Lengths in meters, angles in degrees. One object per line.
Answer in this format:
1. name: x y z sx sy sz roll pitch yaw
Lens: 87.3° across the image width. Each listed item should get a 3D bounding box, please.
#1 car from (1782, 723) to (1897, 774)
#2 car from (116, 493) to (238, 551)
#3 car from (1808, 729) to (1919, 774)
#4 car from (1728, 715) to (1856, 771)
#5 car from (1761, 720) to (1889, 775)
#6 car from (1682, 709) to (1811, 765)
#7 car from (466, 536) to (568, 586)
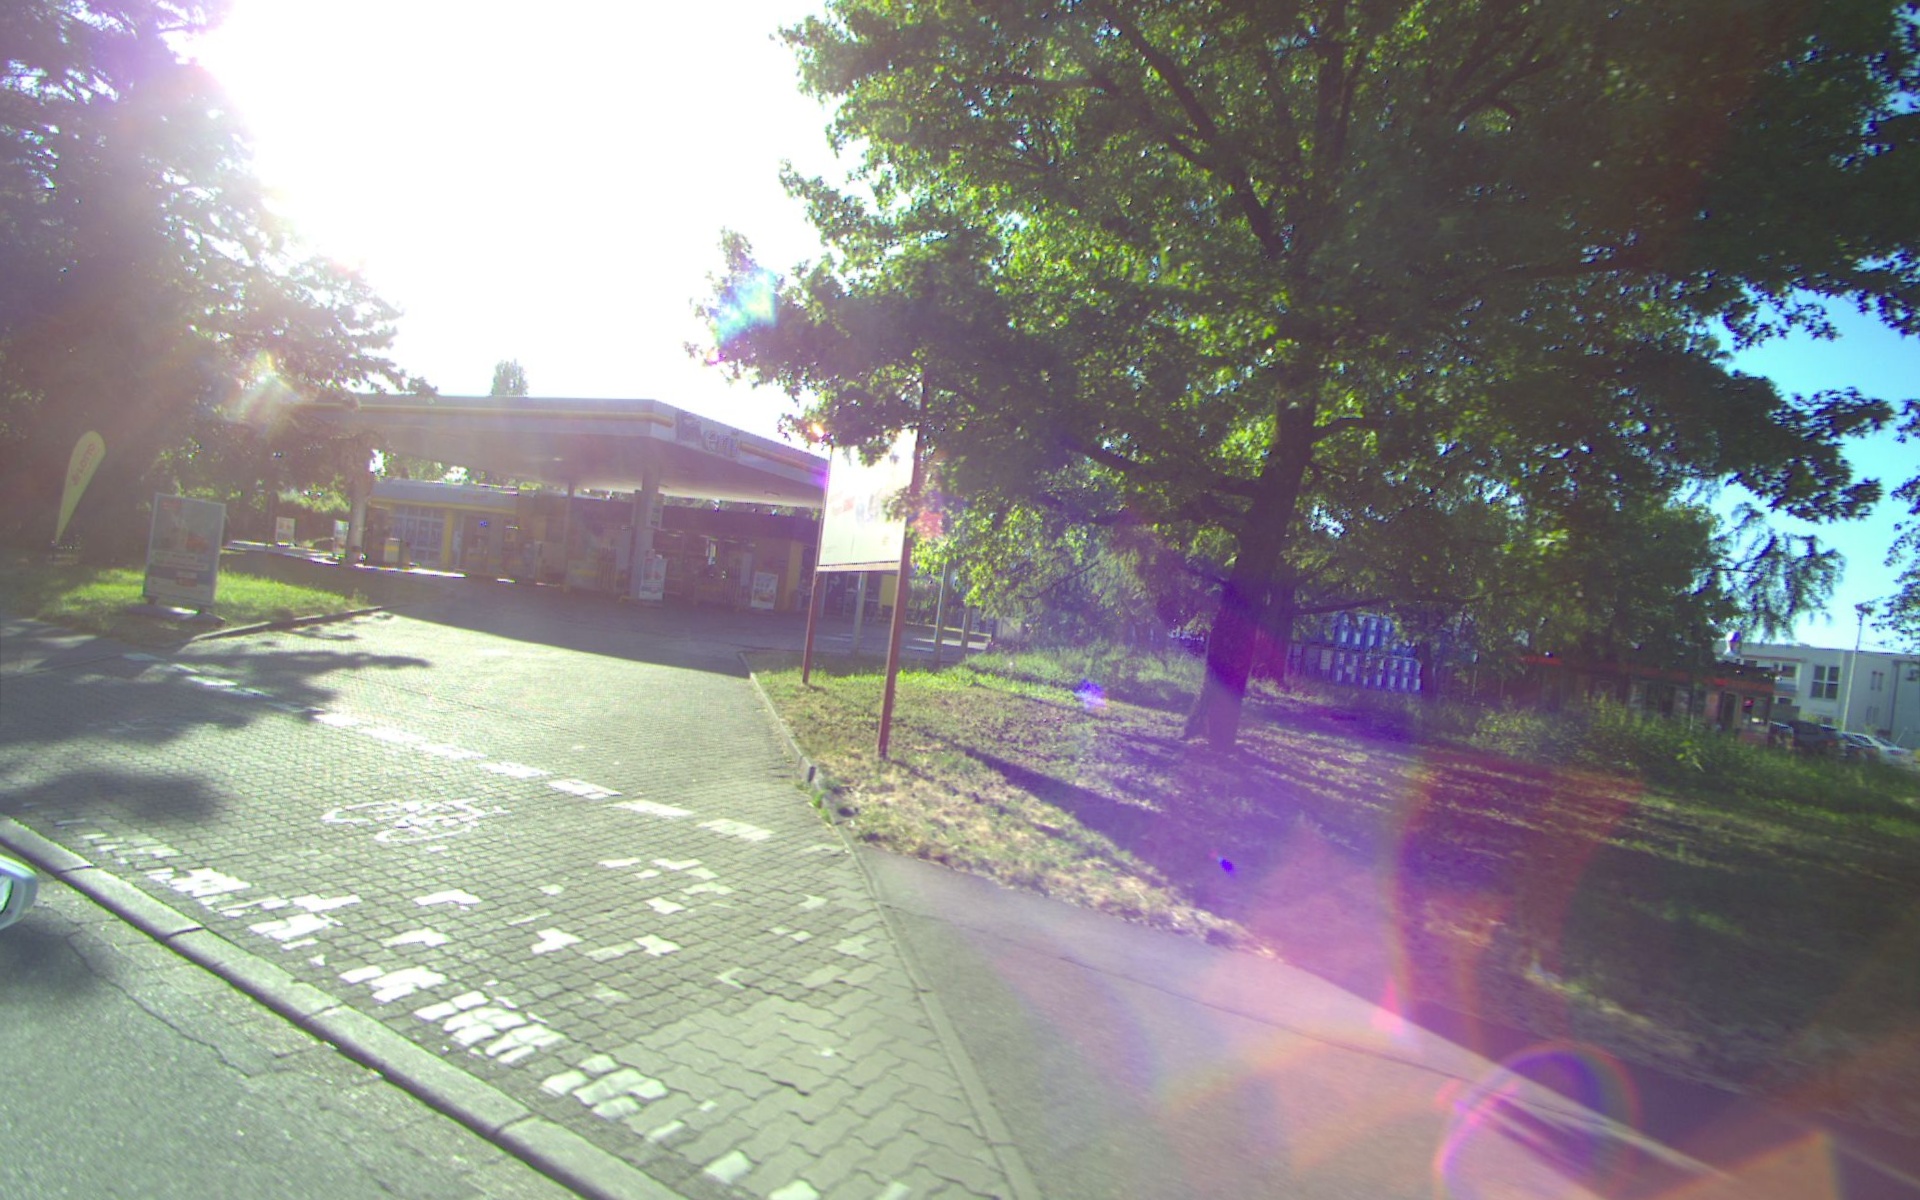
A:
1. car: 41.781 7.020 47.877 1.681 1.707 3.628 9 -2 -24
2. car: -26.350 -2.628 33.842 3.933 1.437 1.844 7 0 30
3. car: 44.365 7.431 49.468 1.681 1.478 3.628 9 -2 -24
4. car: 36.180 6.210 43.853 1.681 1.707 3.844 9 -2 -24
5. car: 38.407 6.508 44.764 1.681 1.707 3.844 9 -2 -24
6. car: 33.307 5.779 42.727 1.681 1.707 3.844 9 -2 -24
7. car: -20.064 -1.774 45.504 4.322 1.749 1.816 7 0 28
